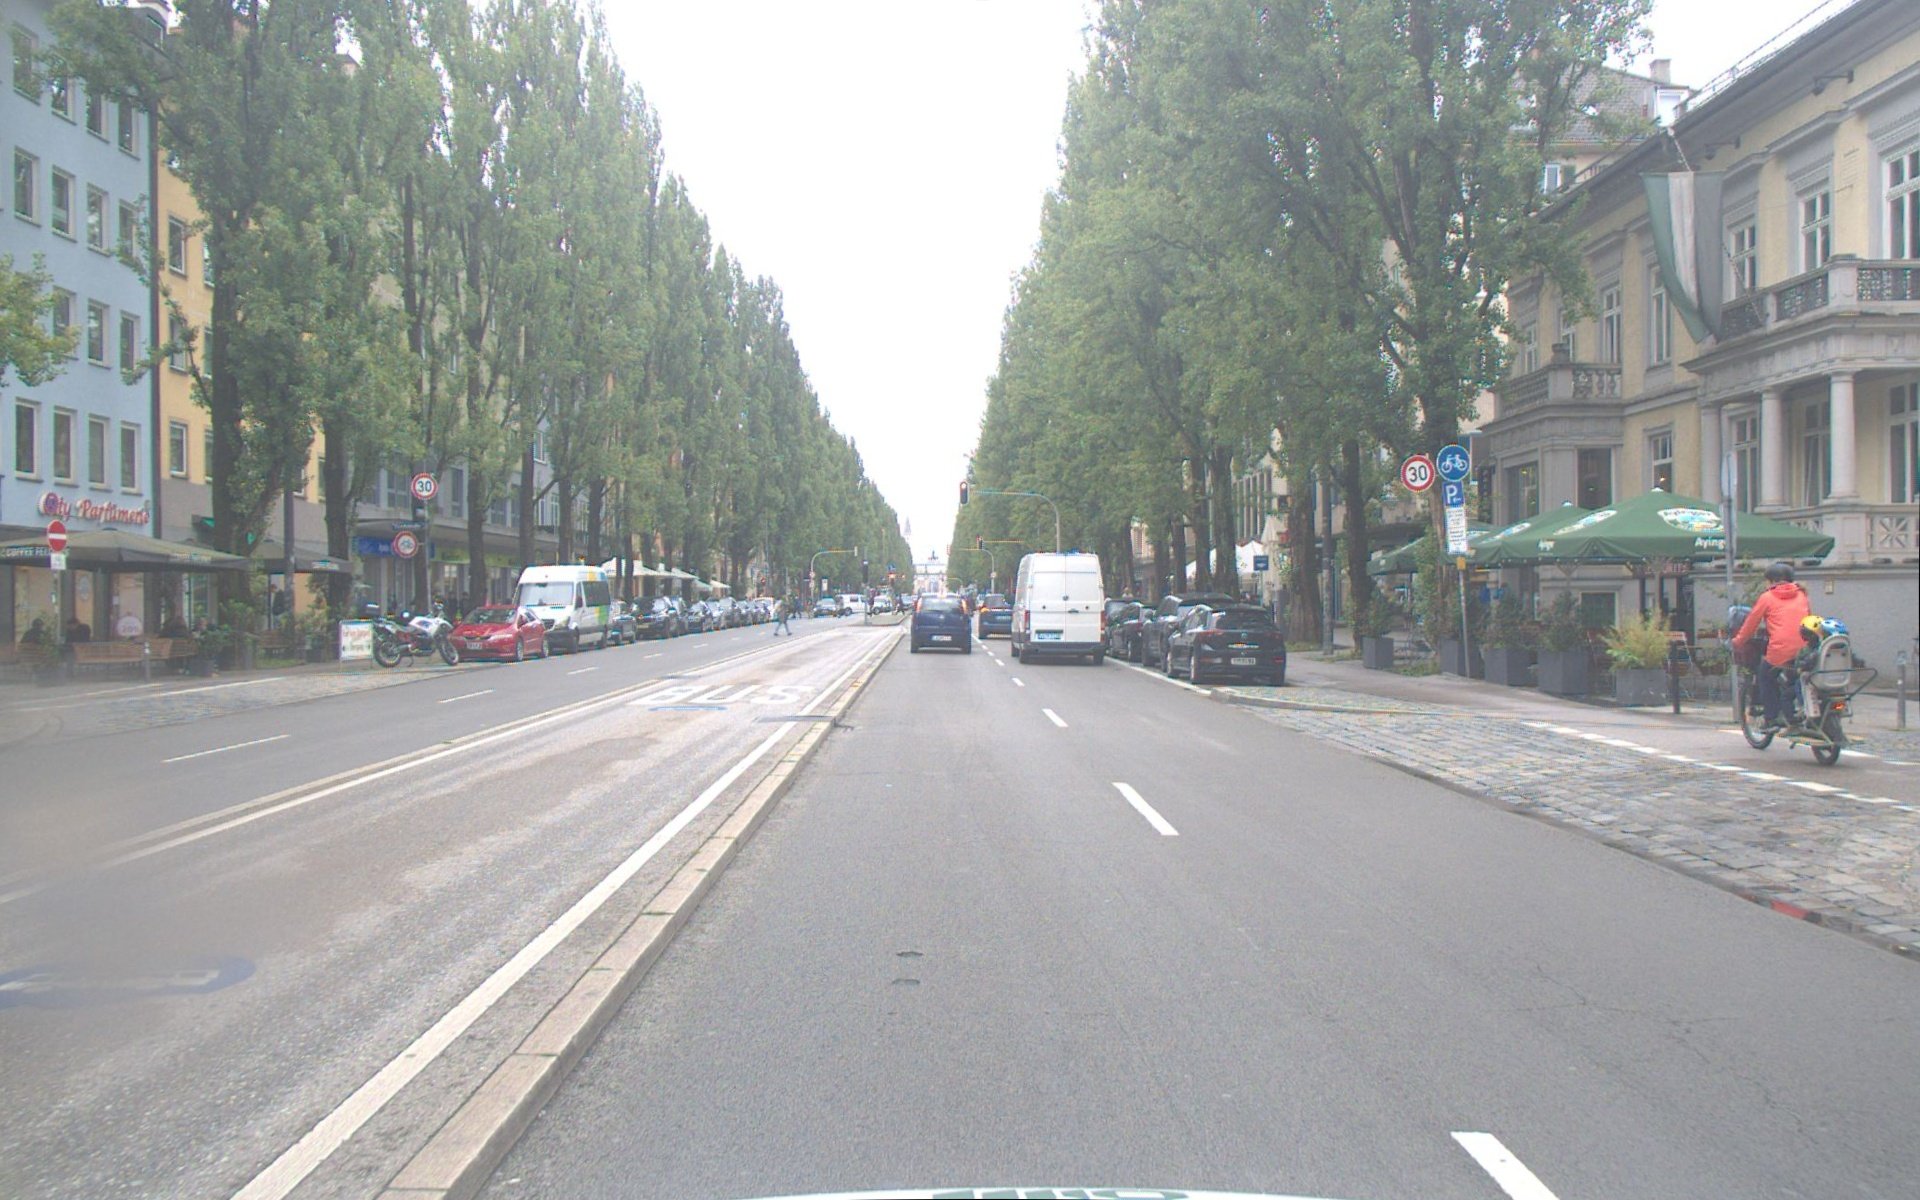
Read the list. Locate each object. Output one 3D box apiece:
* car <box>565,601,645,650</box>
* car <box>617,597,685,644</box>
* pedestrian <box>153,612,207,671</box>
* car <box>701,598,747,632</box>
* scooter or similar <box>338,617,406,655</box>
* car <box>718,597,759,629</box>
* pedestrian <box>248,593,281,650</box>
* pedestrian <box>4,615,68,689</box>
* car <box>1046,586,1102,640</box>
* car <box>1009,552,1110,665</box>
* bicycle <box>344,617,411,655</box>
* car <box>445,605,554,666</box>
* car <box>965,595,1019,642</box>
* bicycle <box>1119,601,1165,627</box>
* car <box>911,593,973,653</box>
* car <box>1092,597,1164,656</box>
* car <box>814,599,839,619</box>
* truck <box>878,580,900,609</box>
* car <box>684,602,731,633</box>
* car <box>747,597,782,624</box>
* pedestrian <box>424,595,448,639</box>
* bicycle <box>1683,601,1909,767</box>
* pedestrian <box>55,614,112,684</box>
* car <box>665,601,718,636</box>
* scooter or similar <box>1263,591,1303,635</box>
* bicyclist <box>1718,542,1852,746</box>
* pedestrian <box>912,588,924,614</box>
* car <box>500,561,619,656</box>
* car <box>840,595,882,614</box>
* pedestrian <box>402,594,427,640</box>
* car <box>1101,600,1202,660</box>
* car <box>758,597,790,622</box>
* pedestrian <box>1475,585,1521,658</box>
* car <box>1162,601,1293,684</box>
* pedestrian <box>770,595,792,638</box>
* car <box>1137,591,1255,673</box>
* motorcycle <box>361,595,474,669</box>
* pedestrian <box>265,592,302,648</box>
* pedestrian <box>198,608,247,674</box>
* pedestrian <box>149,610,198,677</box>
[{"bbox_3d":[-12.264,0.850,57.416,1.828,1.579,4.413,-2,0,-1],"label":"car"},{"bbox_3d":[-12.198,0.779,65.534,1.828,1.693,4.610,-2,0,-1],"label":"car"},{"bbox_3d":[-16.311,0.857,34.602,0.799,1.203,0.699,-1,0,-3],"label":"pedestrian"},{"bbox_3d":[-12.455,0.774,87.371,1.828,1.695,4.399,-2,0,-1],"label":"car"},{"bbox_3d":[-16.600,1.022,46.731,1.738,1.044,0.421,-1,0,-4],"label":"scooter or similar"},{"bbox_3d":[-12.582,0.738,94.211,1.828,1.695,4.119,-2,0,-1],"label":"car"},{"bbox_3d":[-20.621,0.635,49.034,0.683,1.664,0.564,-1,0,23],"label":"pedestrian"},{"bbox_3d":[-17.832,0.988,31.938,0.683,1.386,0.950,-1,0,2],"label":"pedestrian"},{"bbox_3d":[4.333,0.478,63.674,1.751,1.980,4.729,0,0,-1],"label":"car"},{"bbox_3d":[2.357,0.181,40.875,2.021,2.536,6.729,0,0,-1],"label":"car"},{"bbox_3d":[-16.662,1.026,47.346,1.738,1.044,0.421,-1,0,-4],"label":"bicycle"},{"bbox_3d":[-12.002,0.889,43.368,1.702,1.444,4.147,-2,0,-1],"label":"car"},{"bbox_3d":[1.162,0.662,61.127,1.858,1.650,3.999,0,0,-1],"label":"car"},{"bbox_3d":[9.024,0.676,81.841,2.182,1.225,0.626,-1,0,-3],"label":"bicycle"},{"bbox_3d":[-0.513,0.608,46.018,1.637,1.596,3.999,0,0,-1],"label":"car"},{"bbox_3d":[4.582,0.715,45.347,1.560,1.544,2.728,1,0,-3],"label":"car"},{"bbox_3d":[-10.710,0.708,133.166,1.663,1.488,4.711,-2,0,-1],"label":"car"},{"bbox_3d":[-8.240,-0.639,193.334,2.334,3.405,7.109,-1,0,-1],"label":"truck"},{"bbox_3d":[-12.475,0.841,81.968,1.698,1.450,4.142,-2,0,-1],"label":"car"},{"bbox_3d":[-12.966,0.665,109.697,1.828,1.695,4.119,-2,0,-1],"label":"car"},{"bbox_3d":[-20.872,0.654,65.866,0.683,1.729,0.727,-1,0,3],"label":"pedestrian"},{"bbox_3d":[7.505,0.704,15.015,0.757,1.372,2.448,0,0,-1],"label":"bicycle"},{"bbox_3d":[-17.681,0.983,33.382,0.683,1.386,0.819,-1,0,2],"label":"pedestrian"},{"bbox_3d":[-12.412,0.831,76.742,1.762,1.515,4.349,-2,0,-1],"label":"car"},{"bbox_3d":[10.758,0.410,55.168,0.624,1.400,2.493,-2,1,-5],"label":"scooter or similar"},{"bbox_3d":[7.502,0.385,15.076,0.752,1.797,0.885,0,0,-2],"label":"bicyclist"},{"bbox_3d":[-3.128,0.084,121.944,0.707,1.859,0.885,1,-1,-11],"label":"pedestrian"},{"bbox_3d":[-12.056,0.241,50.324,1.965,2.612,6.910,-2,0,-1],"label":"car"},{"bbox_3d":[-8.730,0.389,145.218,3.311,1.588,1.727,-1,0,-25],"label":"car"},{"bbox_3d":[-21.700,0.678,65.805,0.683,1.826,0.727,-1,0,3],"label":"pedestrian"},{"bbox_3d":[4.760,0.714,41.632,1.676,1.418,4.339,0,0,-5],"label":"car"},{"bbox_3d":[-13.130,0.671,116.970,1.828,1.695,4.119,-2,0,-1],"label":"car"},{"bbox_3d":[12.741,0.494,39.177,0.781,1.707,0.877,0,0,-1],"label":"pedestrian"},{"bbox_3d":[4.976,0.749,31.207,1.660,1.441,3.949,0,0,-3],"label":"car"},{"bbox_3d":[-7.193,0.665,66.390,0.843,1.714,0.626,0,0,-4],"label":"pedestrian"},{"bbox_3d":[5.107,0.670,36.373,1.767,1.666,4.445,1,0,-3],"label":"car"},{"bbox_3d":[-12.094,0.696,36.956,2.329,1.591,0.703,0,0,-44],"label":"motorcycle"},{"bbox_3d":[-20.260,0.593,49.539,0.683,1.664,0.726,-1,0,23],"label":"pedestrian"},{"bbox_3d":[-16.004,0.878,35.897,0.683,1.386,0.848,-1,0,-2],"label":"pedestrian"},{"bbox_3d":[-16.718,0.915,35.173,0.699,1.386,0.699,-1,0,-3],"label":"pedestrian"}]
